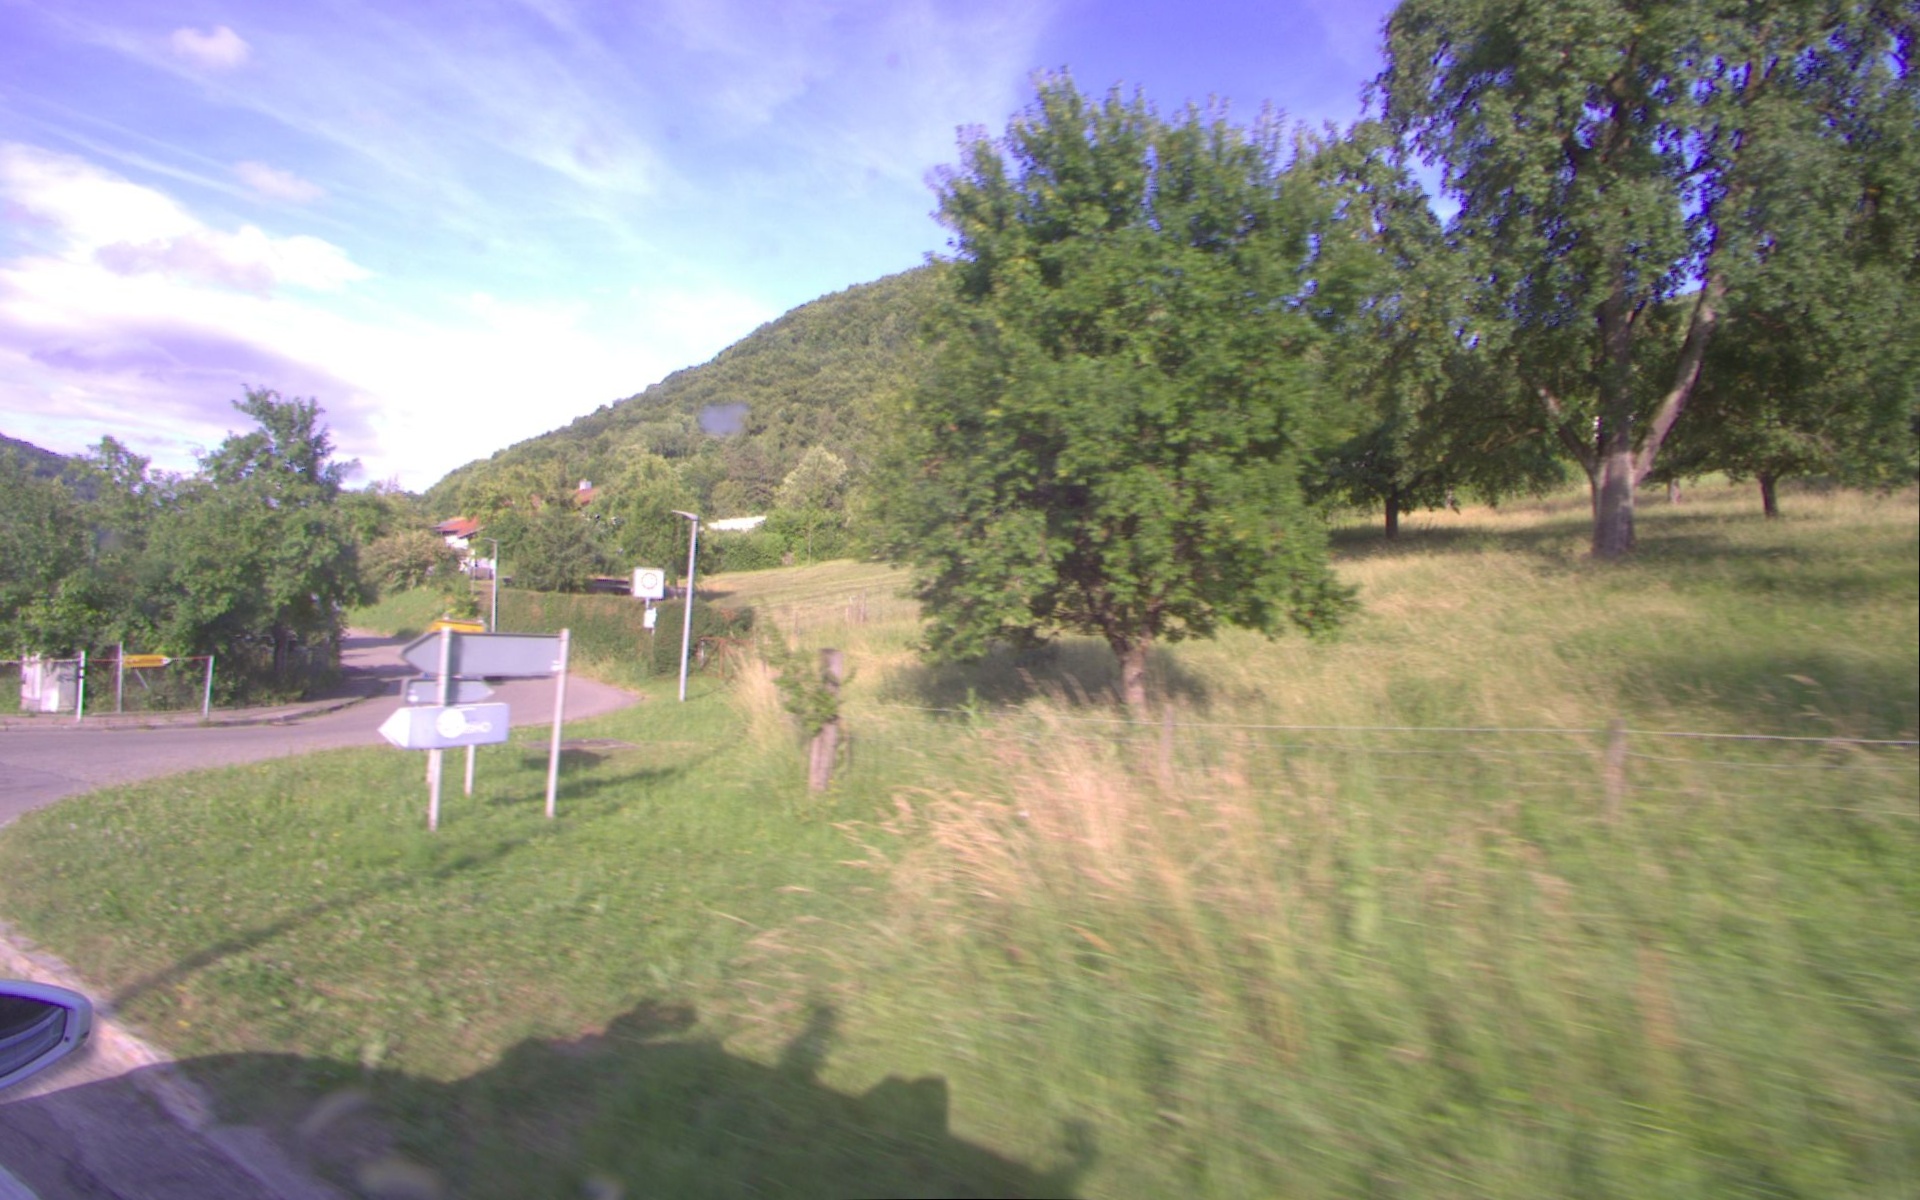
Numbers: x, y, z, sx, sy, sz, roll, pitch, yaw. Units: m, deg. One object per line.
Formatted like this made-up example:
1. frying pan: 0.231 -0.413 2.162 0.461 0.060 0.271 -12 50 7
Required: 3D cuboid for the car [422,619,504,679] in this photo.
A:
1. car: -15.282 1.438 30.646 1.848 1.631 4.545 2 -1 -31
